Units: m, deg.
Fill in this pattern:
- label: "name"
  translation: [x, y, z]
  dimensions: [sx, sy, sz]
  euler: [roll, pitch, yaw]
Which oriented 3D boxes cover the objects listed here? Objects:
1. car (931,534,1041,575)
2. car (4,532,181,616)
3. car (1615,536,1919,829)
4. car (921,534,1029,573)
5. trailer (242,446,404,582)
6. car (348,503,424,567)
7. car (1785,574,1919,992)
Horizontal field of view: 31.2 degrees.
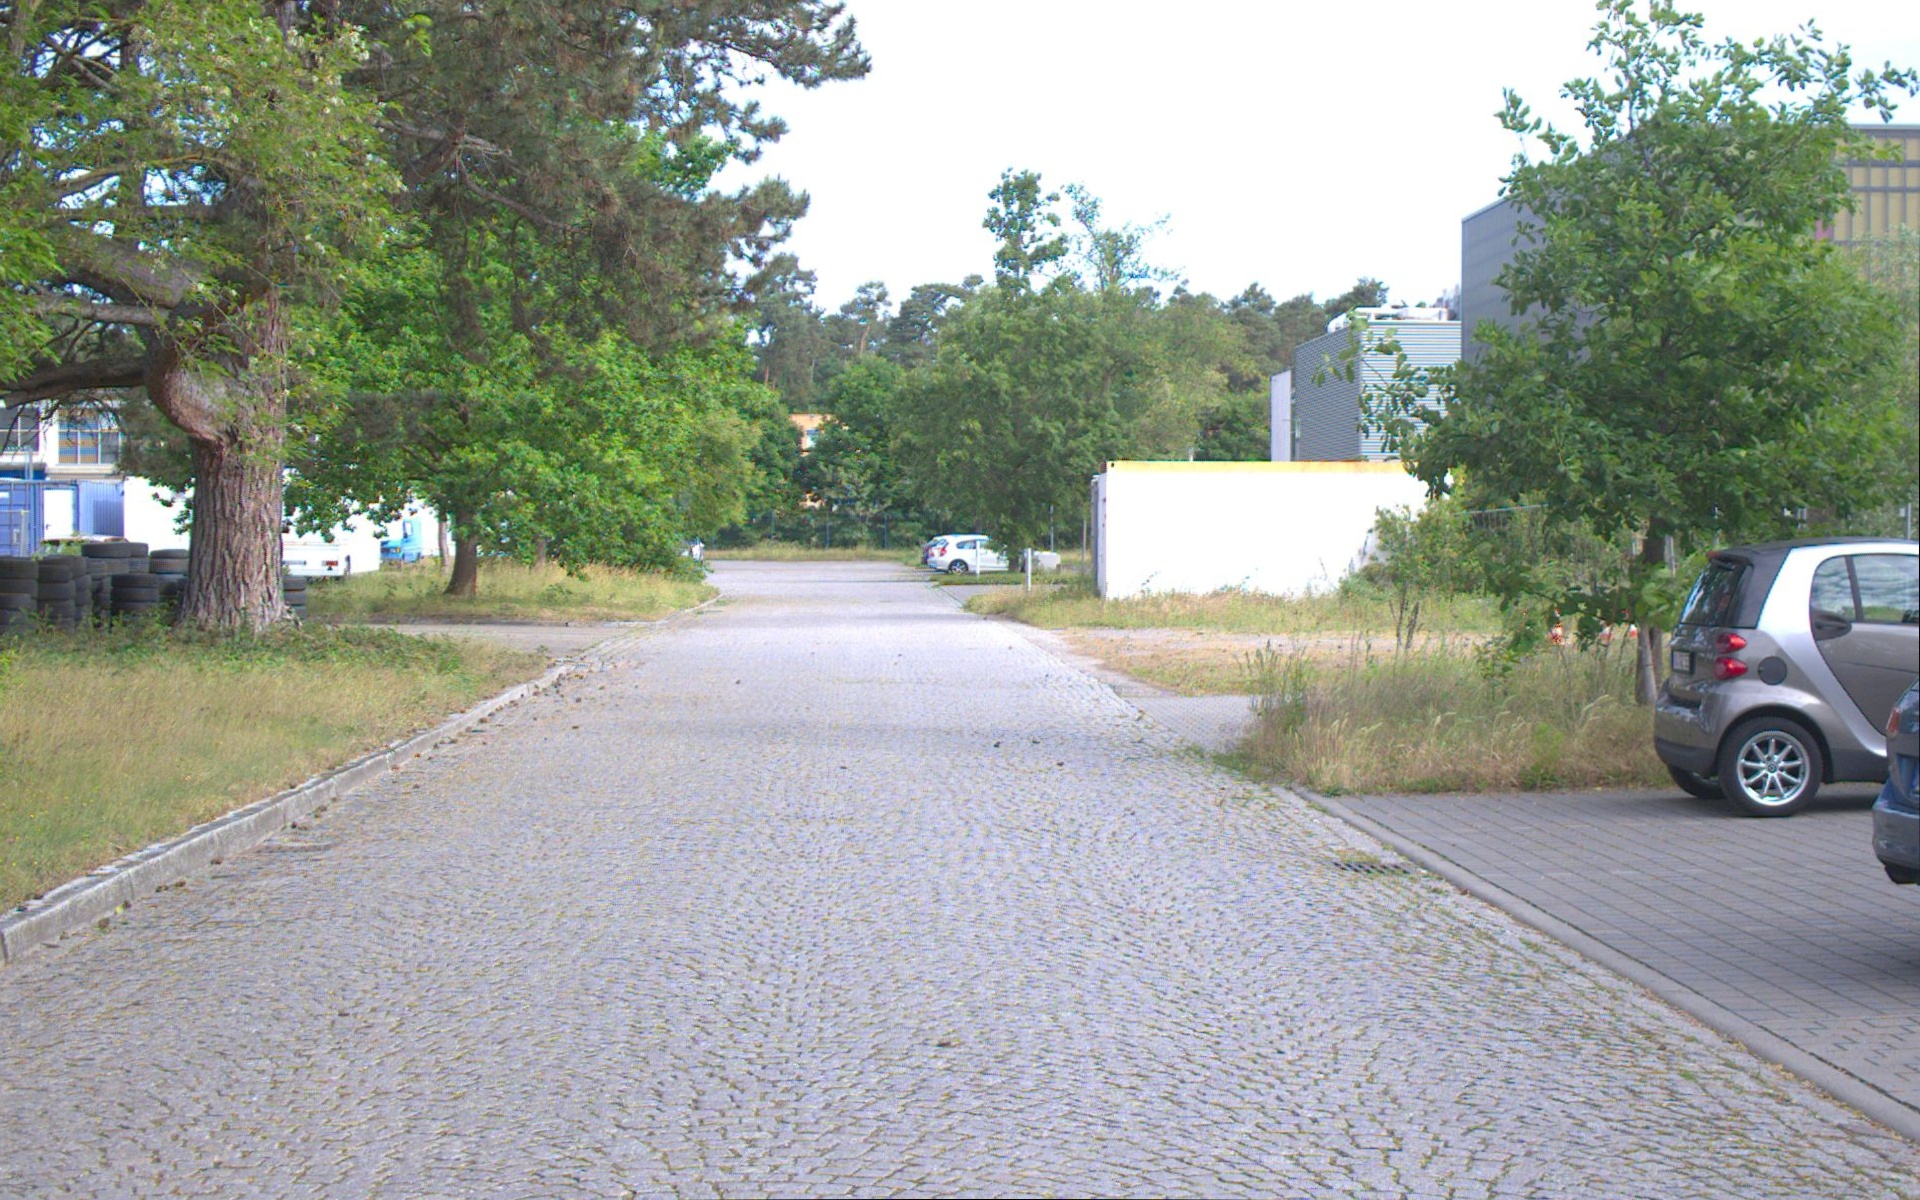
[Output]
- label: "car"
  translation: [0.932, -1.695, 127.321]
  dimensions: [3.986, 1.450, 2.000]
  euler: [1, 0, -2]
- label: "car"
  translation: [-15.398, -0.483, 61.233]
  dimensions: [1.824, 1.427, 4.218]
  euler: [0, 1, 4]
- label: "car"
  translation: [5.392, 0.430, 20.069]
  dimensions: [2.741, 1.576, 1.683]
  euler: [-2, 1, -2]
- label: "car"
  translation: [0.554, -1.760, 129.479]
  dimensions: [3.986, 1.450, 1.697]
  euler: [0, 1, -2]
- label: "trailer"
  translation: [-18.287, -2.449, 99.345]
  dimensions: [2.656, 3.693, 10.722]
  euler: [0, 1, 0]
- label: "car"
  translation: [-23.175, -2.623, 138.982]
  dimensions: [1.993, 2.515, 5.618]
  euler: [0, 1, 1]
- label: "car"
  translation: [5.603, 0.583, 12.784]
  dimensions: [4.524, 1.445, 1.932]
  euler: [-2, 1, -4]
